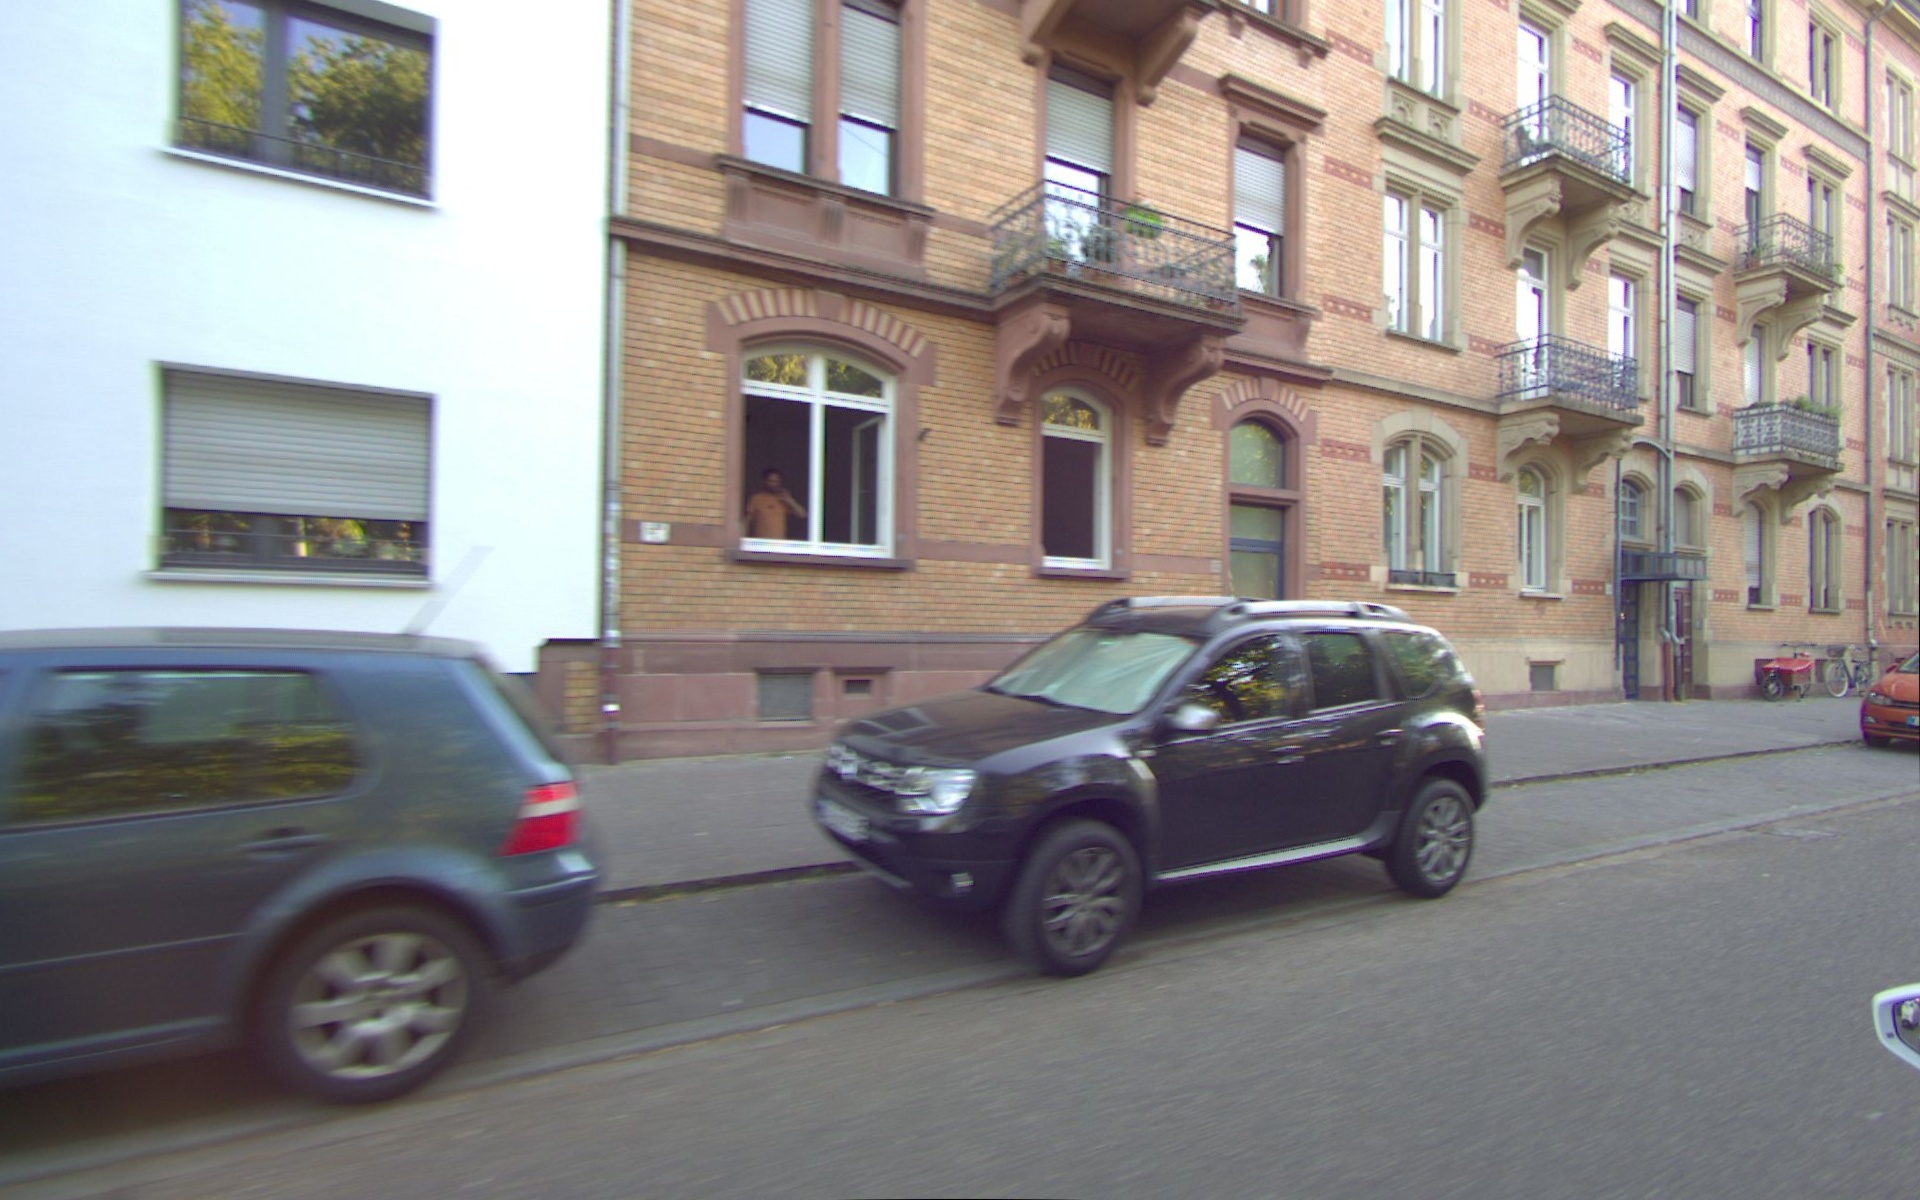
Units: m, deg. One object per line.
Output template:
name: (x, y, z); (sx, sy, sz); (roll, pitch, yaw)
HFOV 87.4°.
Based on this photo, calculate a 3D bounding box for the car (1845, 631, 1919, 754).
car: (13.642, 1.215, 13.372); (3.956, 1.483, 1.743); (2, 1, -33)

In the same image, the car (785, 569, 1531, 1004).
car: (1.269, 0.790, 5.823); (4.152, 1.728, 1.743); (2, -1, -31)

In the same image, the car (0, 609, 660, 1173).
car: (-3.170, 0.786, 3.279); (3.950, 1.471, 1.609); (1, 0, -28)

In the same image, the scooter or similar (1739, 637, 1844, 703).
scooter or similar: (16.921, 1.441, 20.422); (2.673, 1.238, 0.779); (4, -2, -31)

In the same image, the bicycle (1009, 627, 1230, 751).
bicycle: (1.785, 0.923, 11.023); (2.484, 1.223, 0.733); (1, 0, -30)

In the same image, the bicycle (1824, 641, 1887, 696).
bicycle: (19.563, 1.500, 21.937); (1.747, 1.145, 0.425); (3, -1, -28)
